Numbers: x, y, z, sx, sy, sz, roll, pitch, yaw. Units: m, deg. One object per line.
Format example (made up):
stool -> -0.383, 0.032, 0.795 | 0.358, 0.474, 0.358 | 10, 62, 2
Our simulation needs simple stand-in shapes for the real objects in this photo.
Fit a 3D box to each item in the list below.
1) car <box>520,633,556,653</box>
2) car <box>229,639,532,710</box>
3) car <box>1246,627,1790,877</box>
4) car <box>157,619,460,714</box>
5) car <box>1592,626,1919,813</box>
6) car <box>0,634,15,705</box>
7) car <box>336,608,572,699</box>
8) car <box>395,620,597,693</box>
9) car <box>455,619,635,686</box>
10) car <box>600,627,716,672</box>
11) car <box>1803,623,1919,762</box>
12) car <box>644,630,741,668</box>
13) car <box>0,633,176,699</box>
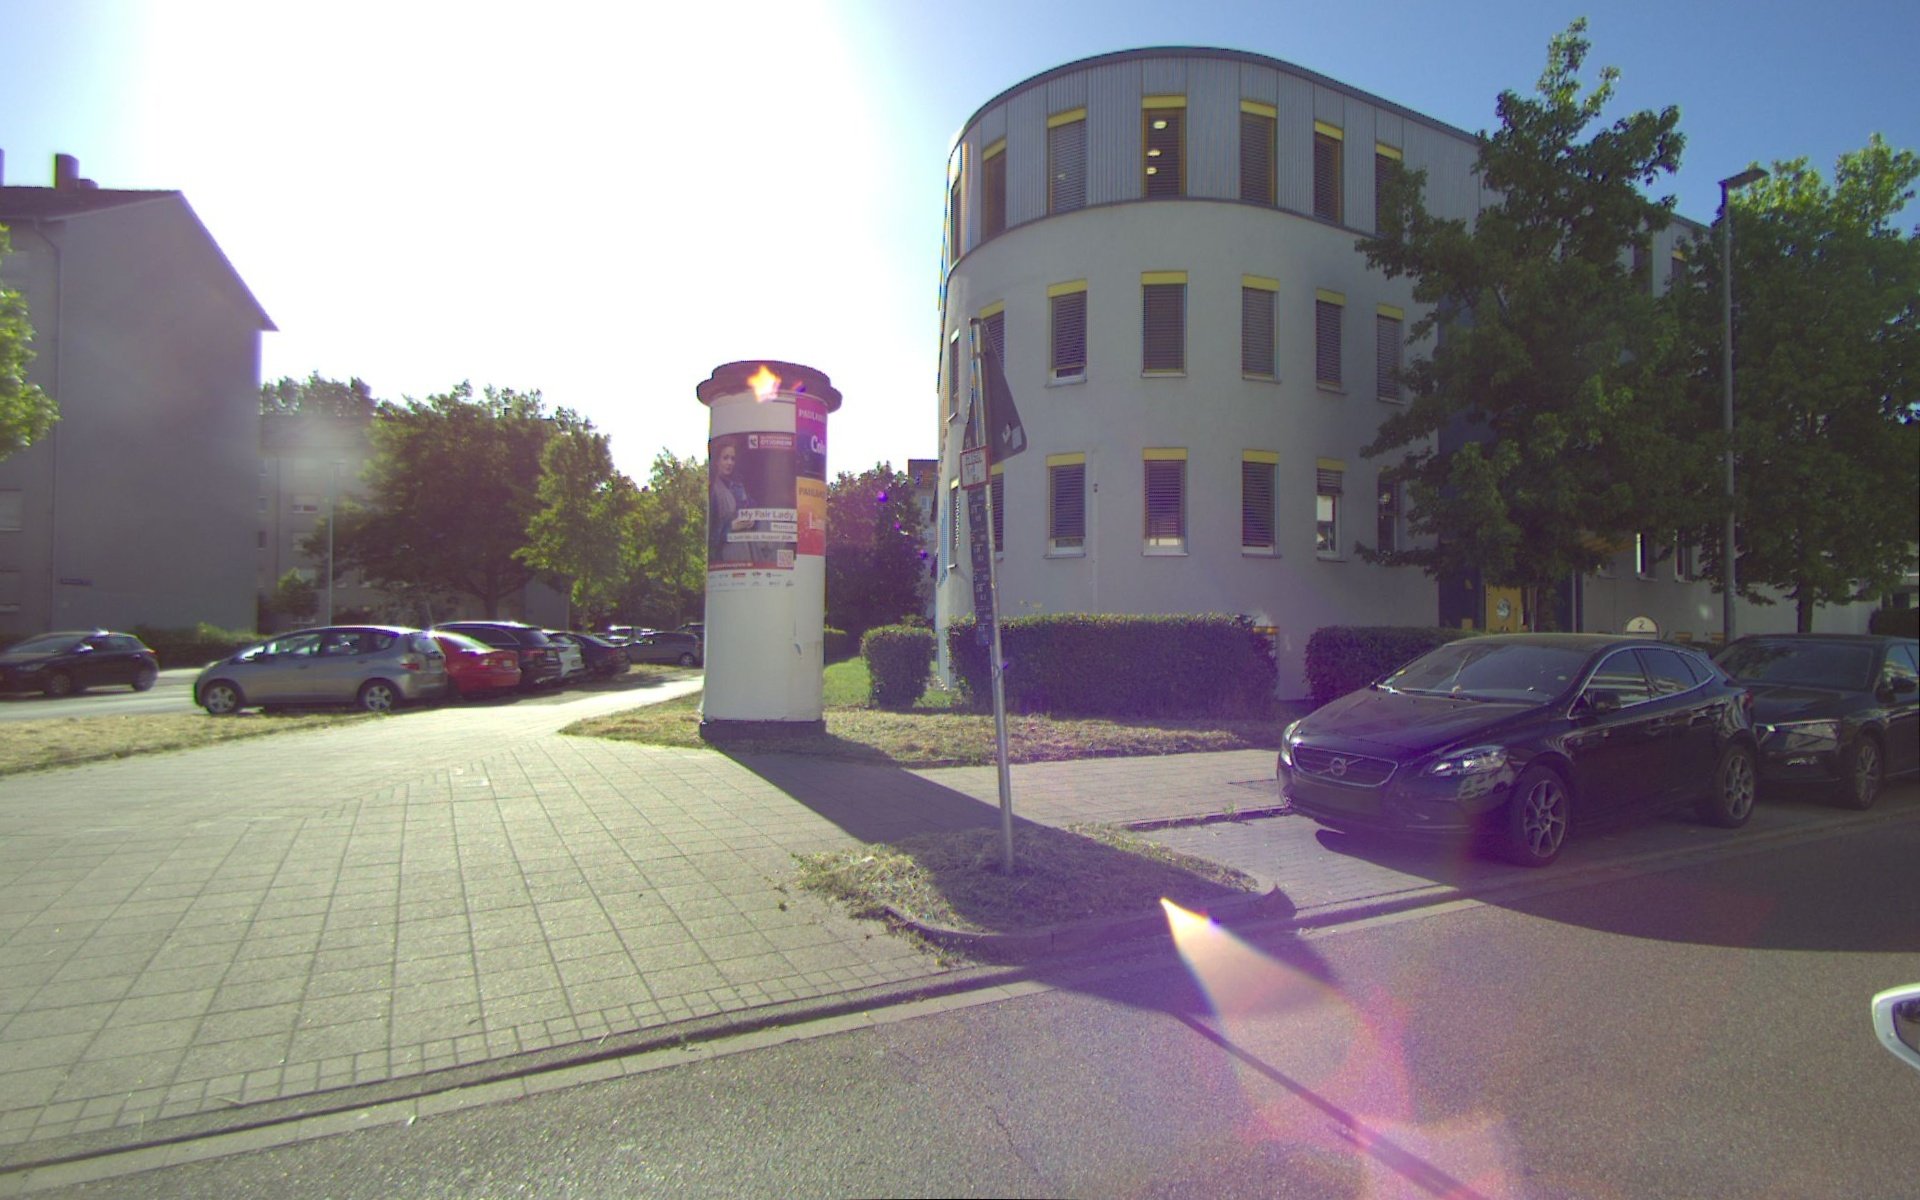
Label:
car -> -27.359, 2.792, 65.229 | 1.253, 1.241, 2.663 | 0, -2, -1
car -> -11.132, 1.416, 19.612 | 4.795, 1.291, 1.727 | 0, -2, -7
car -> 4.324, 0.943, 7.639 | 4.174, 1.429, 1.780 | 1, -2, -31
car -> -11.231, 1.152, 17.572 | 4.025, 1.511, 1.727 | 1, -3, -6
car -> 8.462, 1.054, 10.039 | 4.330, 1.498, 1.899 | 2, -2, -31
car -> -20.218, 1.316, 18.686 | 1.641, 1.438, 3.998 | 3, -3, -5
car -> -11.281, 1.200, 22.688 | 4.212, 1.787, 1.999 | 3, -3, -6
car -> -11.681, 1.427, 25.550 | 4.212, 1.721, 1.999 | -1, -2, -6
car -> -11.458, 1.450, 28.010 | 4.212, 1.721, 1.999 | -1, -2, -6
car -> -12.249, 1.998, 40.945 | 4.212, 1.721, 1.999 | -1, -2, -6
car -> 12.636, 1.110, 12.500 | 4.571, 1.550, 1.899 | 2, -2, -31
car -> -12.827, 2.339, 48.404 | 4.212, 1.721, 1.999 | -1, -2, -6
car -> -20.485, 1.474, 23.434 | 1.383, 1.394, 3.999 | 0, -2, -3
